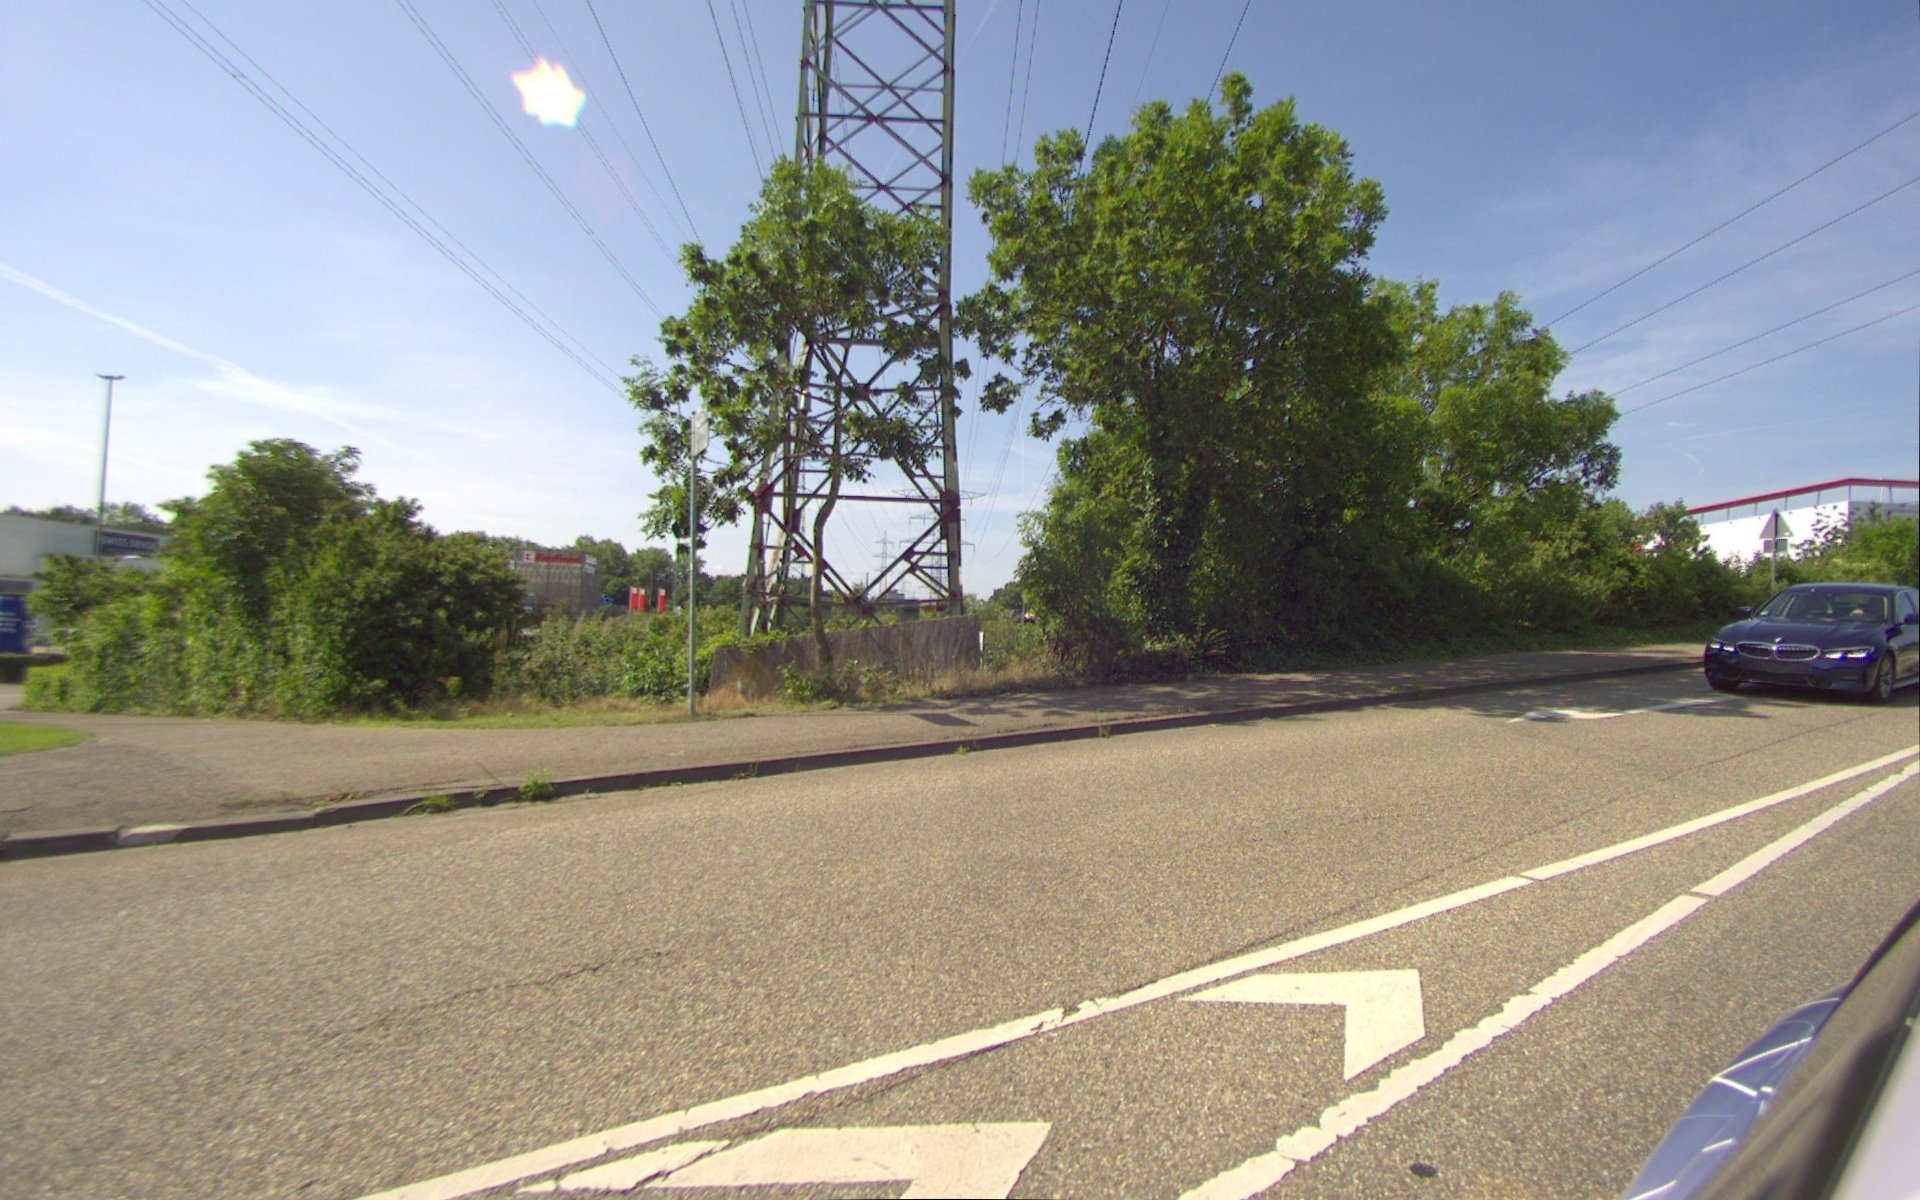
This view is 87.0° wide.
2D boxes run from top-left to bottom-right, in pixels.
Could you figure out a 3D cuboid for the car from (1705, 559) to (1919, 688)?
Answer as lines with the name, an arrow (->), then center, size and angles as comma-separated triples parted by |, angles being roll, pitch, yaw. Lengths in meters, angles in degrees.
car -> 12.116, 0.384, 13.777 | 4.432, 1.502, 1.793 | 3, -2, -34
